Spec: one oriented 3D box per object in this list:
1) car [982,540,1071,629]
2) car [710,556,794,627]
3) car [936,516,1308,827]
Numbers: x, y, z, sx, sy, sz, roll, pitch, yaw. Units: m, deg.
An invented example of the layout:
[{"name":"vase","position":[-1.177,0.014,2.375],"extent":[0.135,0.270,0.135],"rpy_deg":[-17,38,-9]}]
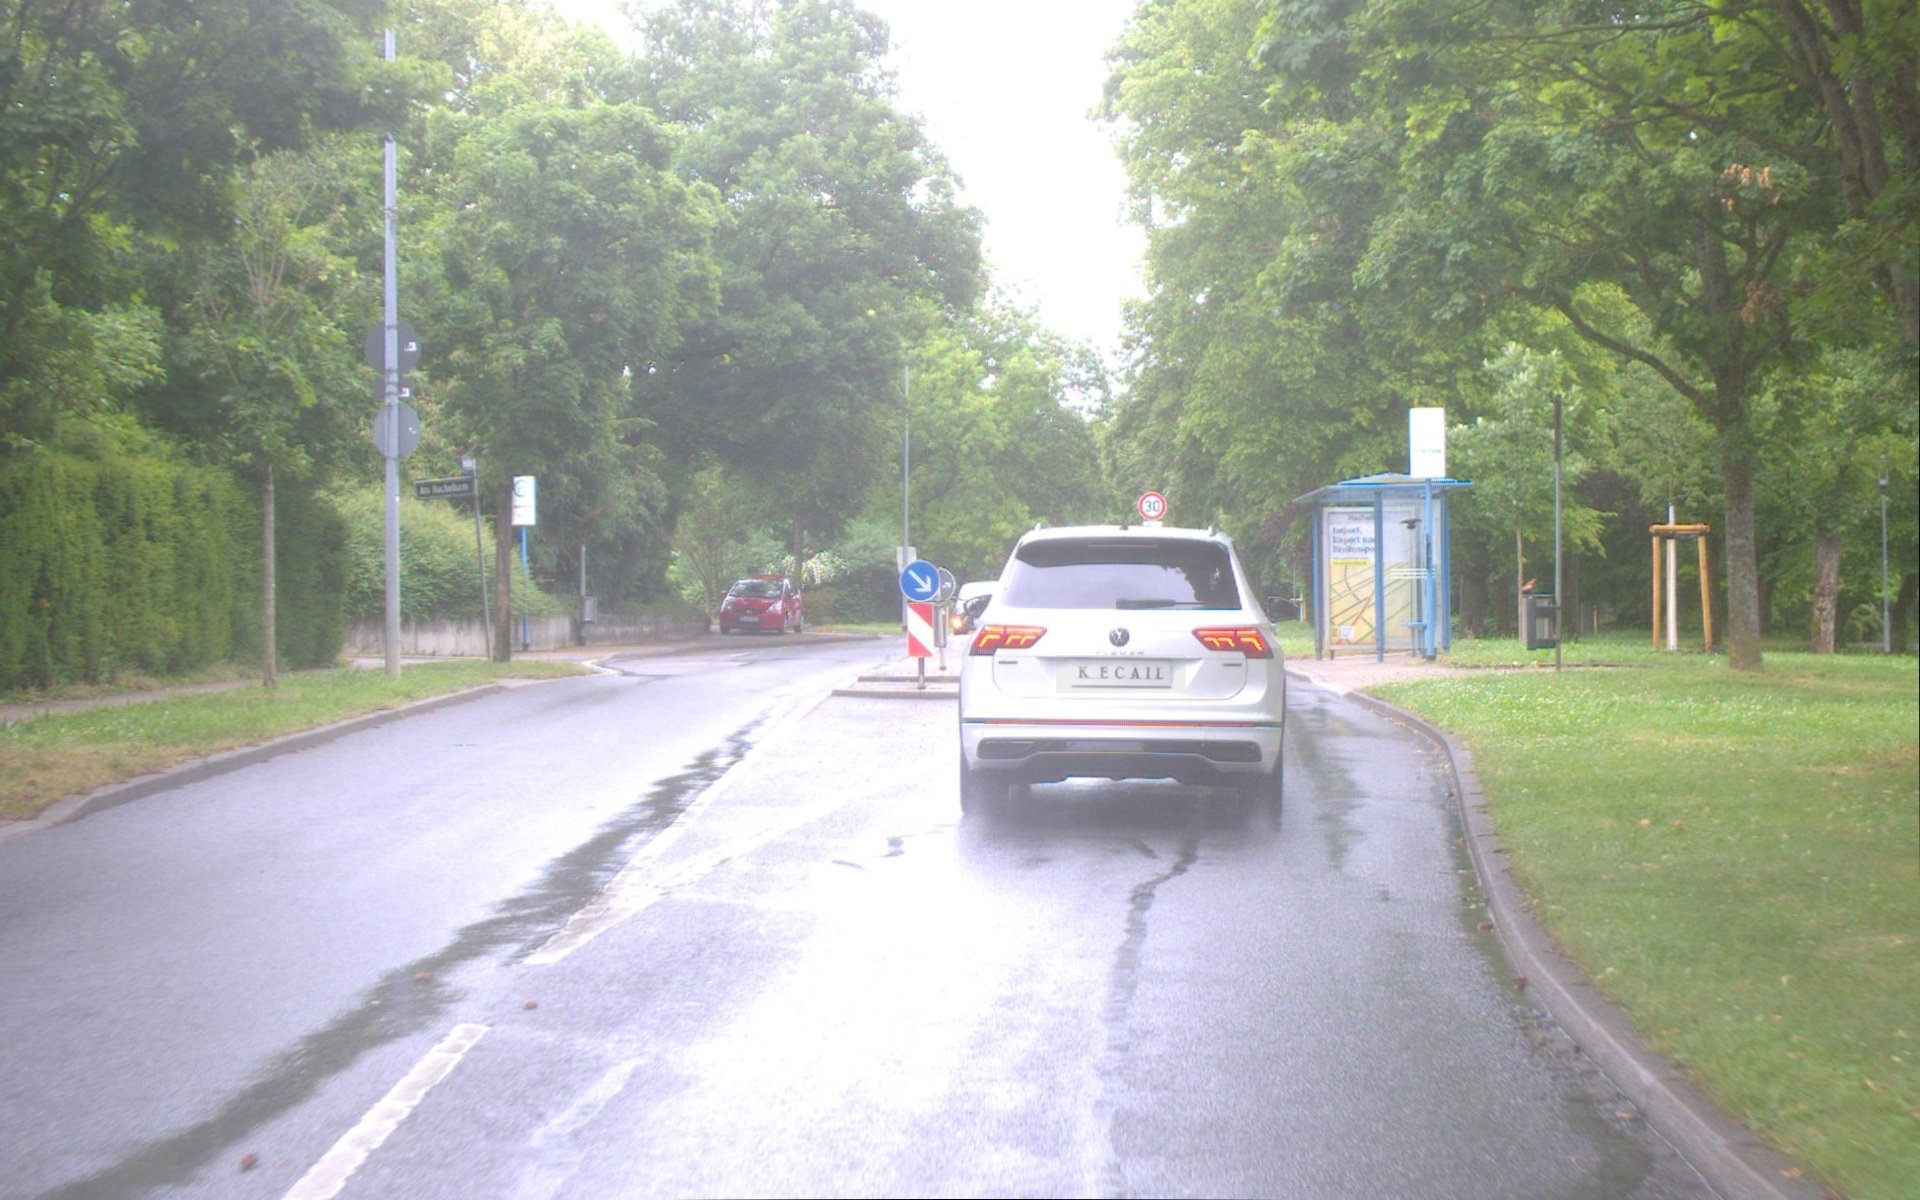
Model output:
[{"name":"car","position":[1.580,-0.348,82.537],"extent":[1.901,2.007,3.944],"rpy_deg":[1,-1,-2]},{"name":"car","position":[-5.423,-0.212,90.199],"extent":[1.993,1.757,4.000],"rpy_deg":[1,-1,-1]},{"name":"car","position":[0.885,0.354,20.414],"extent":[1.974,1.647,4.177],"rpy_deg":[0,1,1]}]
